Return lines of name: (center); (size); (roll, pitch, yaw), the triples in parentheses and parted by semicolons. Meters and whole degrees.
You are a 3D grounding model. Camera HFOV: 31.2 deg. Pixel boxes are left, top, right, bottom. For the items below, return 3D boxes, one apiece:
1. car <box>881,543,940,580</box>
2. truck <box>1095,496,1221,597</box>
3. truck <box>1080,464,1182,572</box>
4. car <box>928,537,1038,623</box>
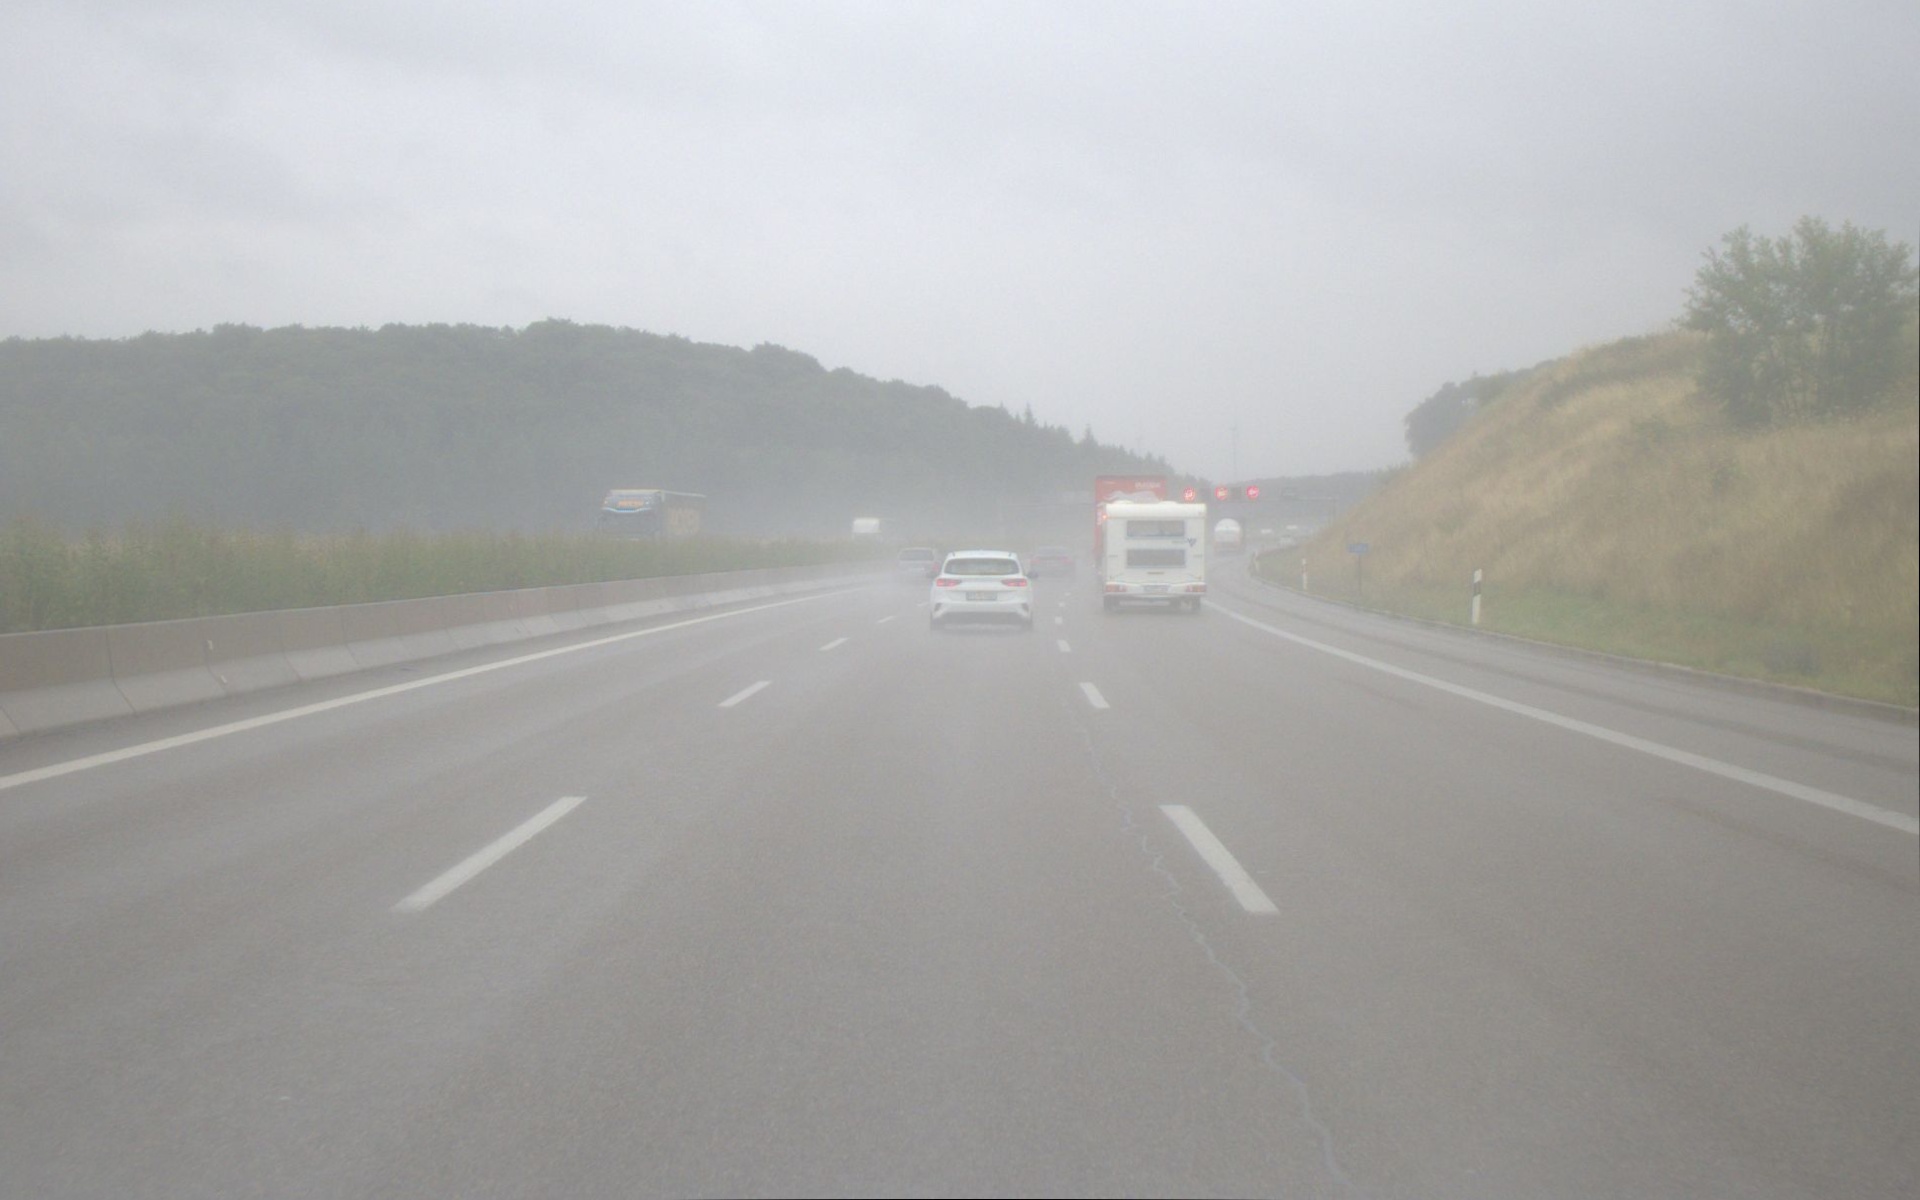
car: (-1.688, -1.298, 115.550); (1.823, 1.152, 4.213); (1, 0, -3)
truck: (4.458, -1.216, 78.271); (2.407, 2.244, 4.693); (0, 1, -2)
truck: (6.323, -3.046, 126.601); (3.527, 3.730, 11.425); (1, 2, 3)
car: (0.411, -0.346, 60.766); (1.867, 1.458, 4.000); (0, 0, 1)
